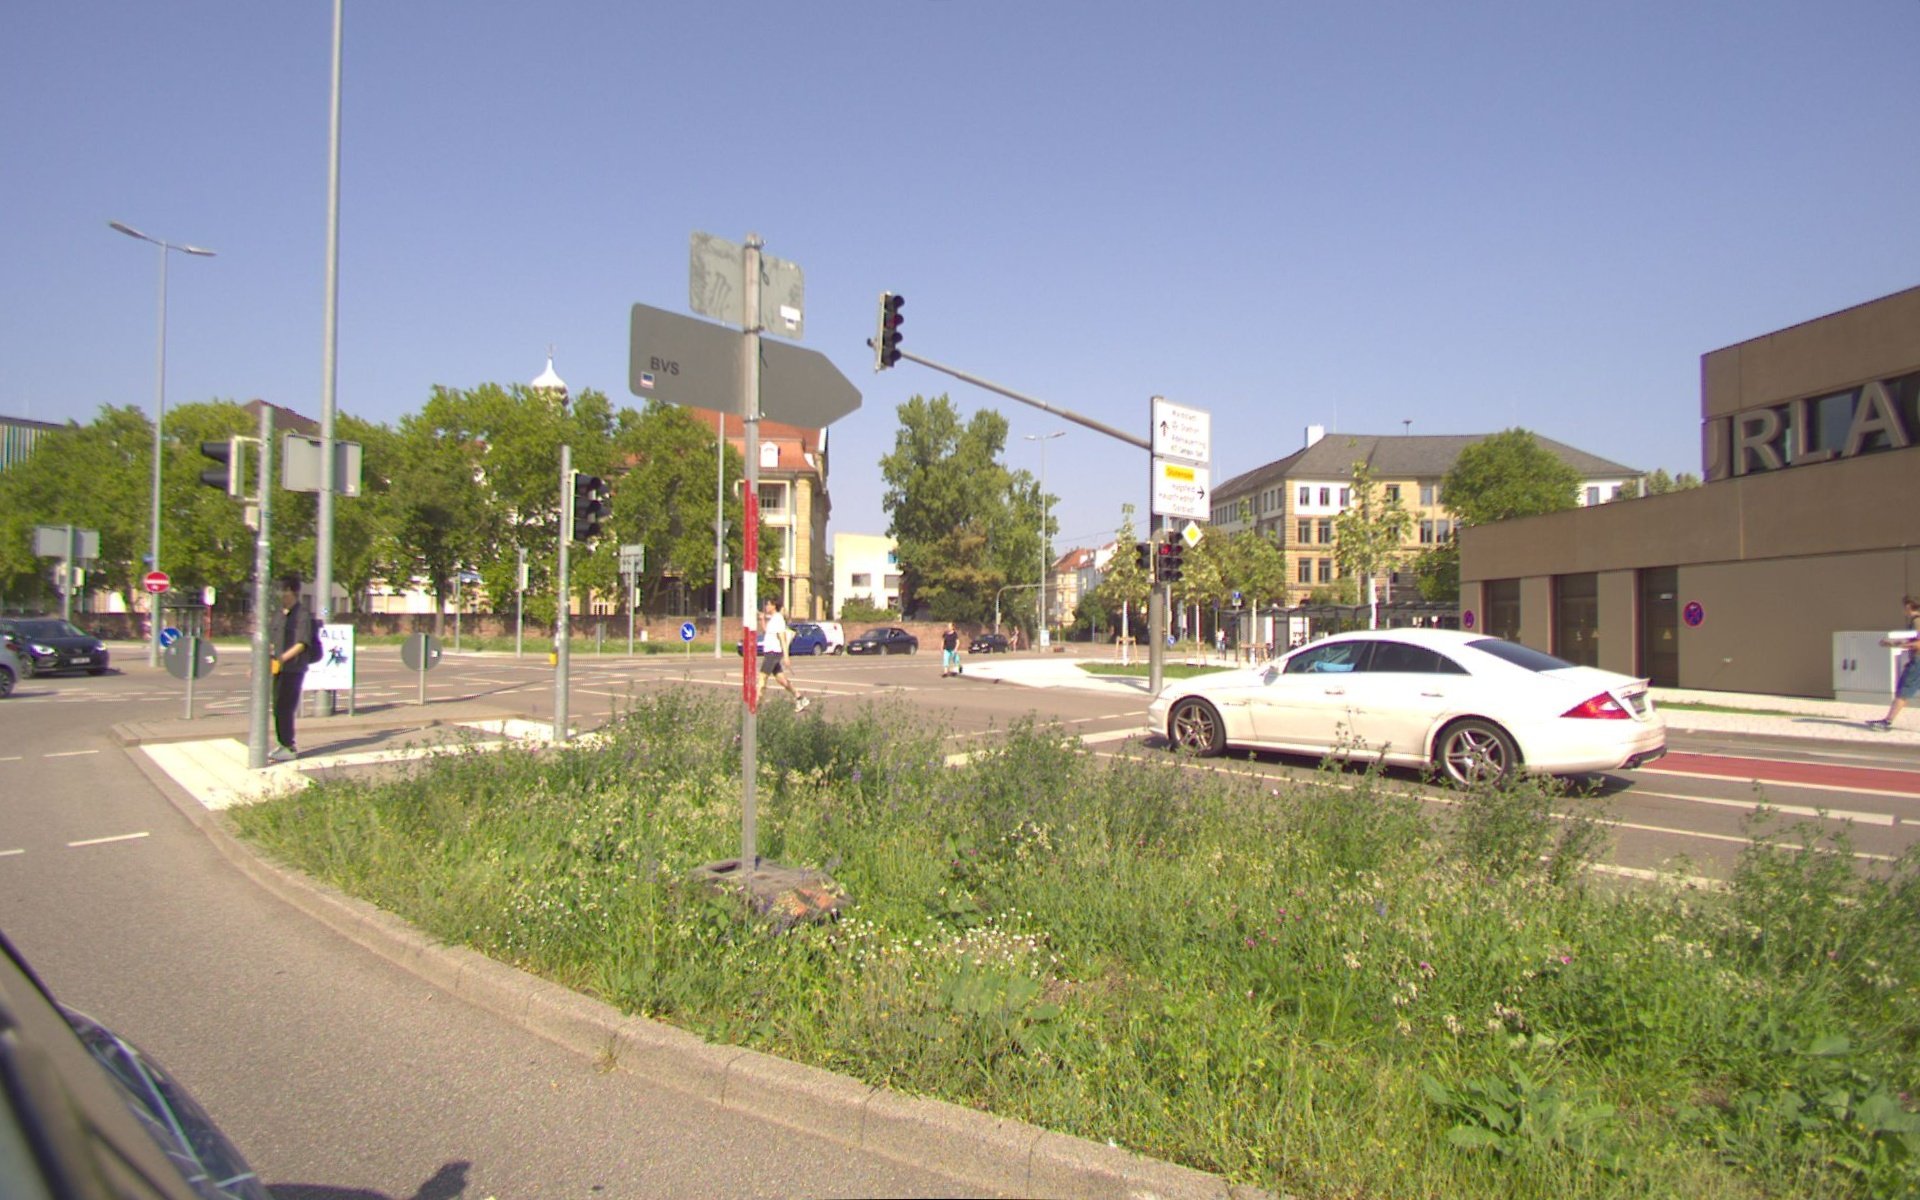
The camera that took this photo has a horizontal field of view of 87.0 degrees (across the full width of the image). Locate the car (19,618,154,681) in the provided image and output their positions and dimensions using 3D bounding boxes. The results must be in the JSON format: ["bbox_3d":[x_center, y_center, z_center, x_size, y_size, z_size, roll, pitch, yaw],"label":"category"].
[{"bbox_3d":[-23.837,1.298,27.553,4.707,1.590,1.830,-1,-2,37],"label":"car"}]

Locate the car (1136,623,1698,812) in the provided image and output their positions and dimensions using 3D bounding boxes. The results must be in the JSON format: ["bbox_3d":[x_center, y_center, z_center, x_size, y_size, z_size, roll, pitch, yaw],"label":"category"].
[{"bbox_3d":[4.266,0.954,10.156,1.820,1.372,4.824,0,-1,-43],"label":"car"}]

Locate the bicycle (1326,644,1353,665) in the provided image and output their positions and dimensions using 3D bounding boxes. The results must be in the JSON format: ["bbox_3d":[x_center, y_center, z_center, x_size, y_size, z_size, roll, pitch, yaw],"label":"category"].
[{"bbox_3d":[18.153,2.587,48.461,0.525,0.994,1.715,1,-2,-5],"label":"bicycle"}]

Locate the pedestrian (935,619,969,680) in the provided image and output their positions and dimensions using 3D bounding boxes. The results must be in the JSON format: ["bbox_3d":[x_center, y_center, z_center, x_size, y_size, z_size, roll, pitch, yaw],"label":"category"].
[{"bbox_3d":[-0.199,1.317,26.939,0.746,1.577,0.664,1,-2,12],"label":"pedestrian"}]

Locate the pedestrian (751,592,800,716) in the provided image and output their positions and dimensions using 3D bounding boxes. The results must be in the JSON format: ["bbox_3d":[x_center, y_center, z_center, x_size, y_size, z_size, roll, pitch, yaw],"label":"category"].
[{"bbox_3d":[-2.796,0.810,15.395,0.563,1.847,0.694,0,-2,3],"label":"pedestrian"}]

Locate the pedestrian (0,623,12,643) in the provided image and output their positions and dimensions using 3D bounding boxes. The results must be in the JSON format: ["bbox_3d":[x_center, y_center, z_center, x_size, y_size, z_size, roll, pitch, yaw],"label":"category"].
[{"bbox_3d":[-76.034,2.662,80.615,0.497,1.583,0.533,0,-2,10],"label":"pedestrian"}]

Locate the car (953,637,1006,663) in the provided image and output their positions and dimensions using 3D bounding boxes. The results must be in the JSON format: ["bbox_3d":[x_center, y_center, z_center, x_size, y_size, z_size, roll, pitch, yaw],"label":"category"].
[{"bbox_3d":[1.382,3.382,69.021,1.752,1.691,3.955,-4,-4,33],"label":"car"}]

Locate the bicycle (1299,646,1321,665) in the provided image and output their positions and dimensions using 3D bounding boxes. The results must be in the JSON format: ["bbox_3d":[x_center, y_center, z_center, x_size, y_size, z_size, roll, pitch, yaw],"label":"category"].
[{"bbox_3d":[17.443,2.746,50.422,0.395,0.899,1.590,1,-2,-5],"label":"bicycle"}]

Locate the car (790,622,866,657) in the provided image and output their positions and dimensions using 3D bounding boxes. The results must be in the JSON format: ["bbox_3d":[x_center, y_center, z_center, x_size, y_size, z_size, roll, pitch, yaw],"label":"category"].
[{"bbox_3d":[-6.821,2.063,52.473,1.752,1.691,3.955,-4,-4,33],"label":"car"}]

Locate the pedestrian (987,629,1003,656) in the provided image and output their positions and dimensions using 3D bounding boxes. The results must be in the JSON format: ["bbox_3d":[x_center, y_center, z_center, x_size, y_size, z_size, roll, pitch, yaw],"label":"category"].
[{"bbox_3d":[2.749,3.361,80.022,0.821,2.029,0.895,-5,-5,44],"label":"pedestrian"}]

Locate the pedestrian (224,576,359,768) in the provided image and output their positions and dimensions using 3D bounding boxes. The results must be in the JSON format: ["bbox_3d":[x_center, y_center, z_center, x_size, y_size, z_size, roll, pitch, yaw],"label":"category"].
[{"bbox_3d":[-6.897,0.702,10.446,1.066,1.854,0.731,0,-1,-41],"label":"pedestrian"}]

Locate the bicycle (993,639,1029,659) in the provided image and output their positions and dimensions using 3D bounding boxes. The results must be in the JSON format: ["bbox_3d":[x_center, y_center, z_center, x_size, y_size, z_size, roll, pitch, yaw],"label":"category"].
[{"bbox_3d":[3.274,3.155,65.205,0.884,1.214,3.043,-4,-4,33],"label":"bicycle"}]

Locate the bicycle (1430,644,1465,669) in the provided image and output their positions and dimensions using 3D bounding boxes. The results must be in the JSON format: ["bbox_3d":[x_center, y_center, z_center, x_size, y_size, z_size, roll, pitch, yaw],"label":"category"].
[{"bbox_3d":[20.998,2.424,43.634,0.455,1.017,1.877,1,-2,-5],"label":"bicycle"}]

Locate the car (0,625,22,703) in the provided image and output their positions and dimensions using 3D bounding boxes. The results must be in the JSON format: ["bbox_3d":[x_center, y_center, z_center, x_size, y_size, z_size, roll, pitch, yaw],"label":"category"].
[{"bbox_3d":[-19.060,1.170,17.525,1.703,1.444,3.845,0,-1,12],"label":"car"}]

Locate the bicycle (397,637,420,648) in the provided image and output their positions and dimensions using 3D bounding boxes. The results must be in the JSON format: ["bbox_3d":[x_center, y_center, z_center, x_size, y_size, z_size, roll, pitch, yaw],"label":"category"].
[{"bbox_3d":[-40.890,3.147,75.065,1.530,0.842,0.433,0,-2,5],"label":"bicycle"}]

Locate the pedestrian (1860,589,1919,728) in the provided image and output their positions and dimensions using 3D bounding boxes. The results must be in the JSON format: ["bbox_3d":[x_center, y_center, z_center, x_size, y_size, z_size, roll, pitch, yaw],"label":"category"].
[{"bbox_3d":[12.492,0.752,13.219,0.872,1.773,0.674,-1,-1,20],"label":"pedestrian"}]

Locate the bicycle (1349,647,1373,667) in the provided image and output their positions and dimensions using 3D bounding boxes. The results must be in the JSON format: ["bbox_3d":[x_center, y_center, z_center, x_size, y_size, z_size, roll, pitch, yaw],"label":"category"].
[{"bbox_3d":[19.241,2.723,48.544,0.404,0.899,1.590,1,-2,-5],"label":"bicycle"}]

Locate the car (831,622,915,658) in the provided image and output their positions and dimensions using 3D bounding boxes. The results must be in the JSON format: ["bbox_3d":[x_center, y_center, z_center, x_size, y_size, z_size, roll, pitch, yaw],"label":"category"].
[{"bbox_3d":[-3.943,1.842,46.357,1.992,1.564,3.960,-2,-3,29],"label":"car"}]

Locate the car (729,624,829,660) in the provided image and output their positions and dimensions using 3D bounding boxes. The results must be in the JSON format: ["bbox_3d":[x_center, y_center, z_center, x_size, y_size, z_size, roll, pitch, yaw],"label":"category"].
[{"bbox_3d":[-7.145,1.669,40.326,1.600,1.339,4.291,-1,-2,28],"label":"car"}]

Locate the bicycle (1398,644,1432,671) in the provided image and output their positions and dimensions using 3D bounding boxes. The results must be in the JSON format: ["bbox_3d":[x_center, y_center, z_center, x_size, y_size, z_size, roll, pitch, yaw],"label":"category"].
[{"bbox_3d":[17.652,2.233,39.279,0.395,1.017,1.747,1,-2,-5],"label":"bicycle"}]

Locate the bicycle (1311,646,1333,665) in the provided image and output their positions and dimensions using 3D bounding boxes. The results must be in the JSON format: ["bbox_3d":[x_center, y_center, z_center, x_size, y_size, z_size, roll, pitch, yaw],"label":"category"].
[{"bbox_3d":[18.002,2.749,50.392,0.404,0.899,1.590,1,-2,-5],"label":"bicycle"}]

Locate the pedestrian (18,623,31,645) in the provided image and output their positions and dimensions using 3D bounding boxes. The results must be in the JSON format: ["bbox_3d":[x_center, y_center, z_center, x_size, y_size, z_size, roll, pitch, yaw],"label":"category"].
[{"bbox_3d":[-74.337,2.706,80.381,0.588,1.664,0.481,-3,-4,12],"label":"pedestrian"}]

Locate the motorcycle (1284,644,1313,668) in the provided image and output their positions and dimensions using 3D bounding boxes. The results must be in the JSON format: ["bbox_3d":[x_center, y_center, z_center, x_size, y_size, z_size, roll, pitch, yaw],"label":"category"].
[{"bbox_3d":[14.890,2.439,44.537,0.535,1.017,1.747,1,-2,-5],"label":"motorcycle"}]

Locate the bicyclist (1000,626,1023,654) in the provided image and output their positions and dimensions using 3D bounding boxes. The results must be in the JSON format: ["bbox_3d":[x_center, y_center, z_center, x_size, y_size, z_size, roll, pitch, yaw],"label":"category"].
[{"bbox_3d":[3.303,2.585,65.306,0.884,1.759,1.354,-4,-4,33],"label":"bicyclist"}]

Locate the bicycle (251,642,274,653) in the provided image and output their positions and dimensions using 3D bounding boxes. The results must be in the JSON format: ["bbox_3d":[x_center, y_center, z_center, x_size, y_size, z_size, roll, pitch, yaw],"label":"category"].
[{"bbox_3d":[-52.698,3.597,76.481,1.532,0.842,0.433,0,-2,8],"label":"bicycle"}]

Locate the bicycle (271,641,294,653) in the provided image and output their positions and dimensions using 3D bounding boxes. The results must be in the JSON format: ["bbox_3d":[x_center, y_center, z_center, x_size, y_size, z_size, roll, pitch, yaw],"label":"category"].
[{"bbox_3d":[-51.032,3.531,76.224,1.532,0.842,0.433,0,-2,8],"label":"bicycle"}]

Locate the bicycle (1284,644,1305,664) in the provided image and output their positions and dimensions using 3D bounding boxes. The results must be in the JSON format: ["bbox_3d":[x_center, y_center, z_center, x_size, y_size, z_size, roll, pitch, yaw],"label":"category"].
[{"bbox_3d":[16.624,2.699,50.356,0.415,0.975,1.590,1,-2,-5],"label":"bicycle"}]

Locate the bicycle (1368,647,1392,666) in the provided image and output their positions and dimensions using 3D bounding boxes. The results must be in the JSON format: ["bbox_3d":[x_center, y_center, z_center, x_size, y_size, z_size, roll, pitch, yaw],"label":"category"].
[{"bbox_3d":[20.223,2.702,48.751,0.404,0.899,1.590,1,-2,-5],"label":"bicycle"}]
